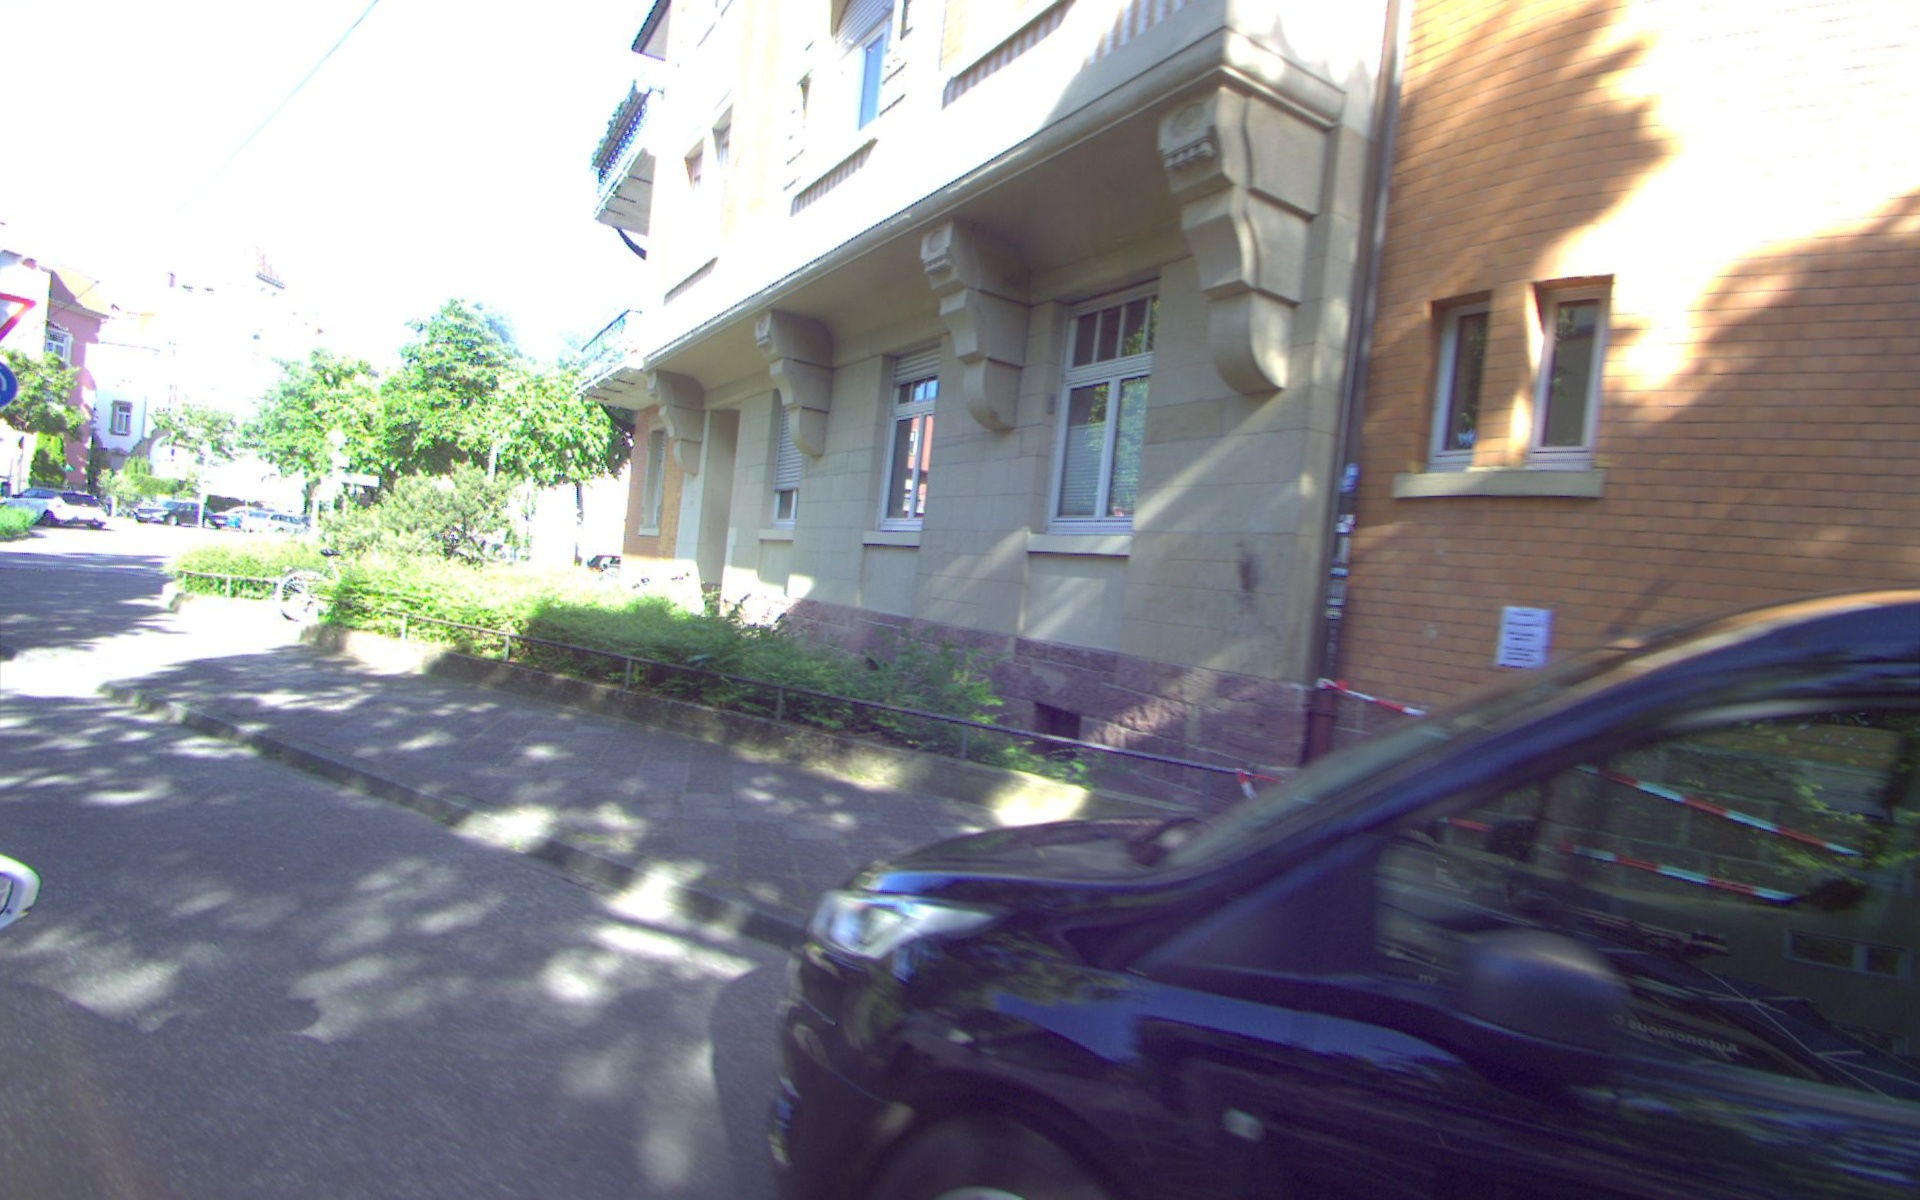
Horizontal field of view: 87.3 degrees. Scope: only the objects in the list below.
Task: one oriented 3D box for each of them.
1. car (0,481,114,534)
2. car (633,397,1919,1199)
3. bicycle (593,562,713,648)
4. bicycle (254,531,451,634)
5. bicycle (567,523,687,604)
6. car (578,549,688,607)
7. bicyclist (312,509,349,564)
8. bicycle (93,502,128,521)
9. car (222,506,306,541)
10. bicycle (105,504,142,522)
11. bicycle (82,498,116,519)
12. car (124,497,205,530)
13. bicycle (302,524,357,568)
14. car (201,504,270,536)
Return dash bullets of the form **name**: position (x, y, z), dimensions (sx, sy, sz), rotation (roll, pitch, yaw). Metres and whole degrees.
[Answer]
- **car**: position (-35.179, -3.592, 39.144), dimensions (3.701, 1.583, 1.720), rotation (6, 0, 18)
- **car**: position (1.656, 0.825, 1.837), dimensions (4.201, 1.891, 1.806), rotation (7, -3, 30)
- **bicycle**: position (-4.360, 0.084, 14.349), dimensions (1.548, 1.074, 0.268), rotation (6, 2, -34)
- **bicycle**: position (-8.272, -0.216, 13.775), dimensions (2.207, 1.174, 0.384), rotation (6, 2, -34)
- **bicycle**: position (-5.194, -0.564, 15.743), dimensions (1.666, 1.074, 0.384), rotation (6, 2, -34)
- **car**: position (-9.929, -0.620, 30.810), dimensions (1.542, 1.491, 3.515), rotation (7, 1, 11)
- **bicyclist**: position (-17.396, -1.755, 27.816), dimensions (0.729, 1.435, 0.509), rotation (7, 2, 33)
- **bicycle**: position (-48.668, -5.083, 57.631), dimensions (2.244, 0.833, 0.478), rotation (7, 2, 22)
- **car**: position (-37.689, -4.123, 54.601), dimensions (1.531, 1.474, 3.976), rotation (6, 1, 3)
- **bicycle**: position (-48.534, -5.026, 58.363), dimensions (2.244, 0.796, 0.625), rotation (7, 1, 22)
- **bicycle**: position (-48.502, -5.156, 56.669), dimensions (2.244, 0.926, 0.478), rotation (7, 2, 22)
- **car**: position (-45.381, -4.919, 57.479), dimensions (1.728, 1.386, 3.641), rotation (6, 1, -3)
- **bicycle**: position (-17.472, -1.509, 27.865), dimensions (1.845, 1.049, 0.507), rotation (7, 2, 33)
- **car**: position (-45.040, -4.956, 62.614), dimensions (1.640, 1.507, 3.475), rotation (6, 1, 2)
